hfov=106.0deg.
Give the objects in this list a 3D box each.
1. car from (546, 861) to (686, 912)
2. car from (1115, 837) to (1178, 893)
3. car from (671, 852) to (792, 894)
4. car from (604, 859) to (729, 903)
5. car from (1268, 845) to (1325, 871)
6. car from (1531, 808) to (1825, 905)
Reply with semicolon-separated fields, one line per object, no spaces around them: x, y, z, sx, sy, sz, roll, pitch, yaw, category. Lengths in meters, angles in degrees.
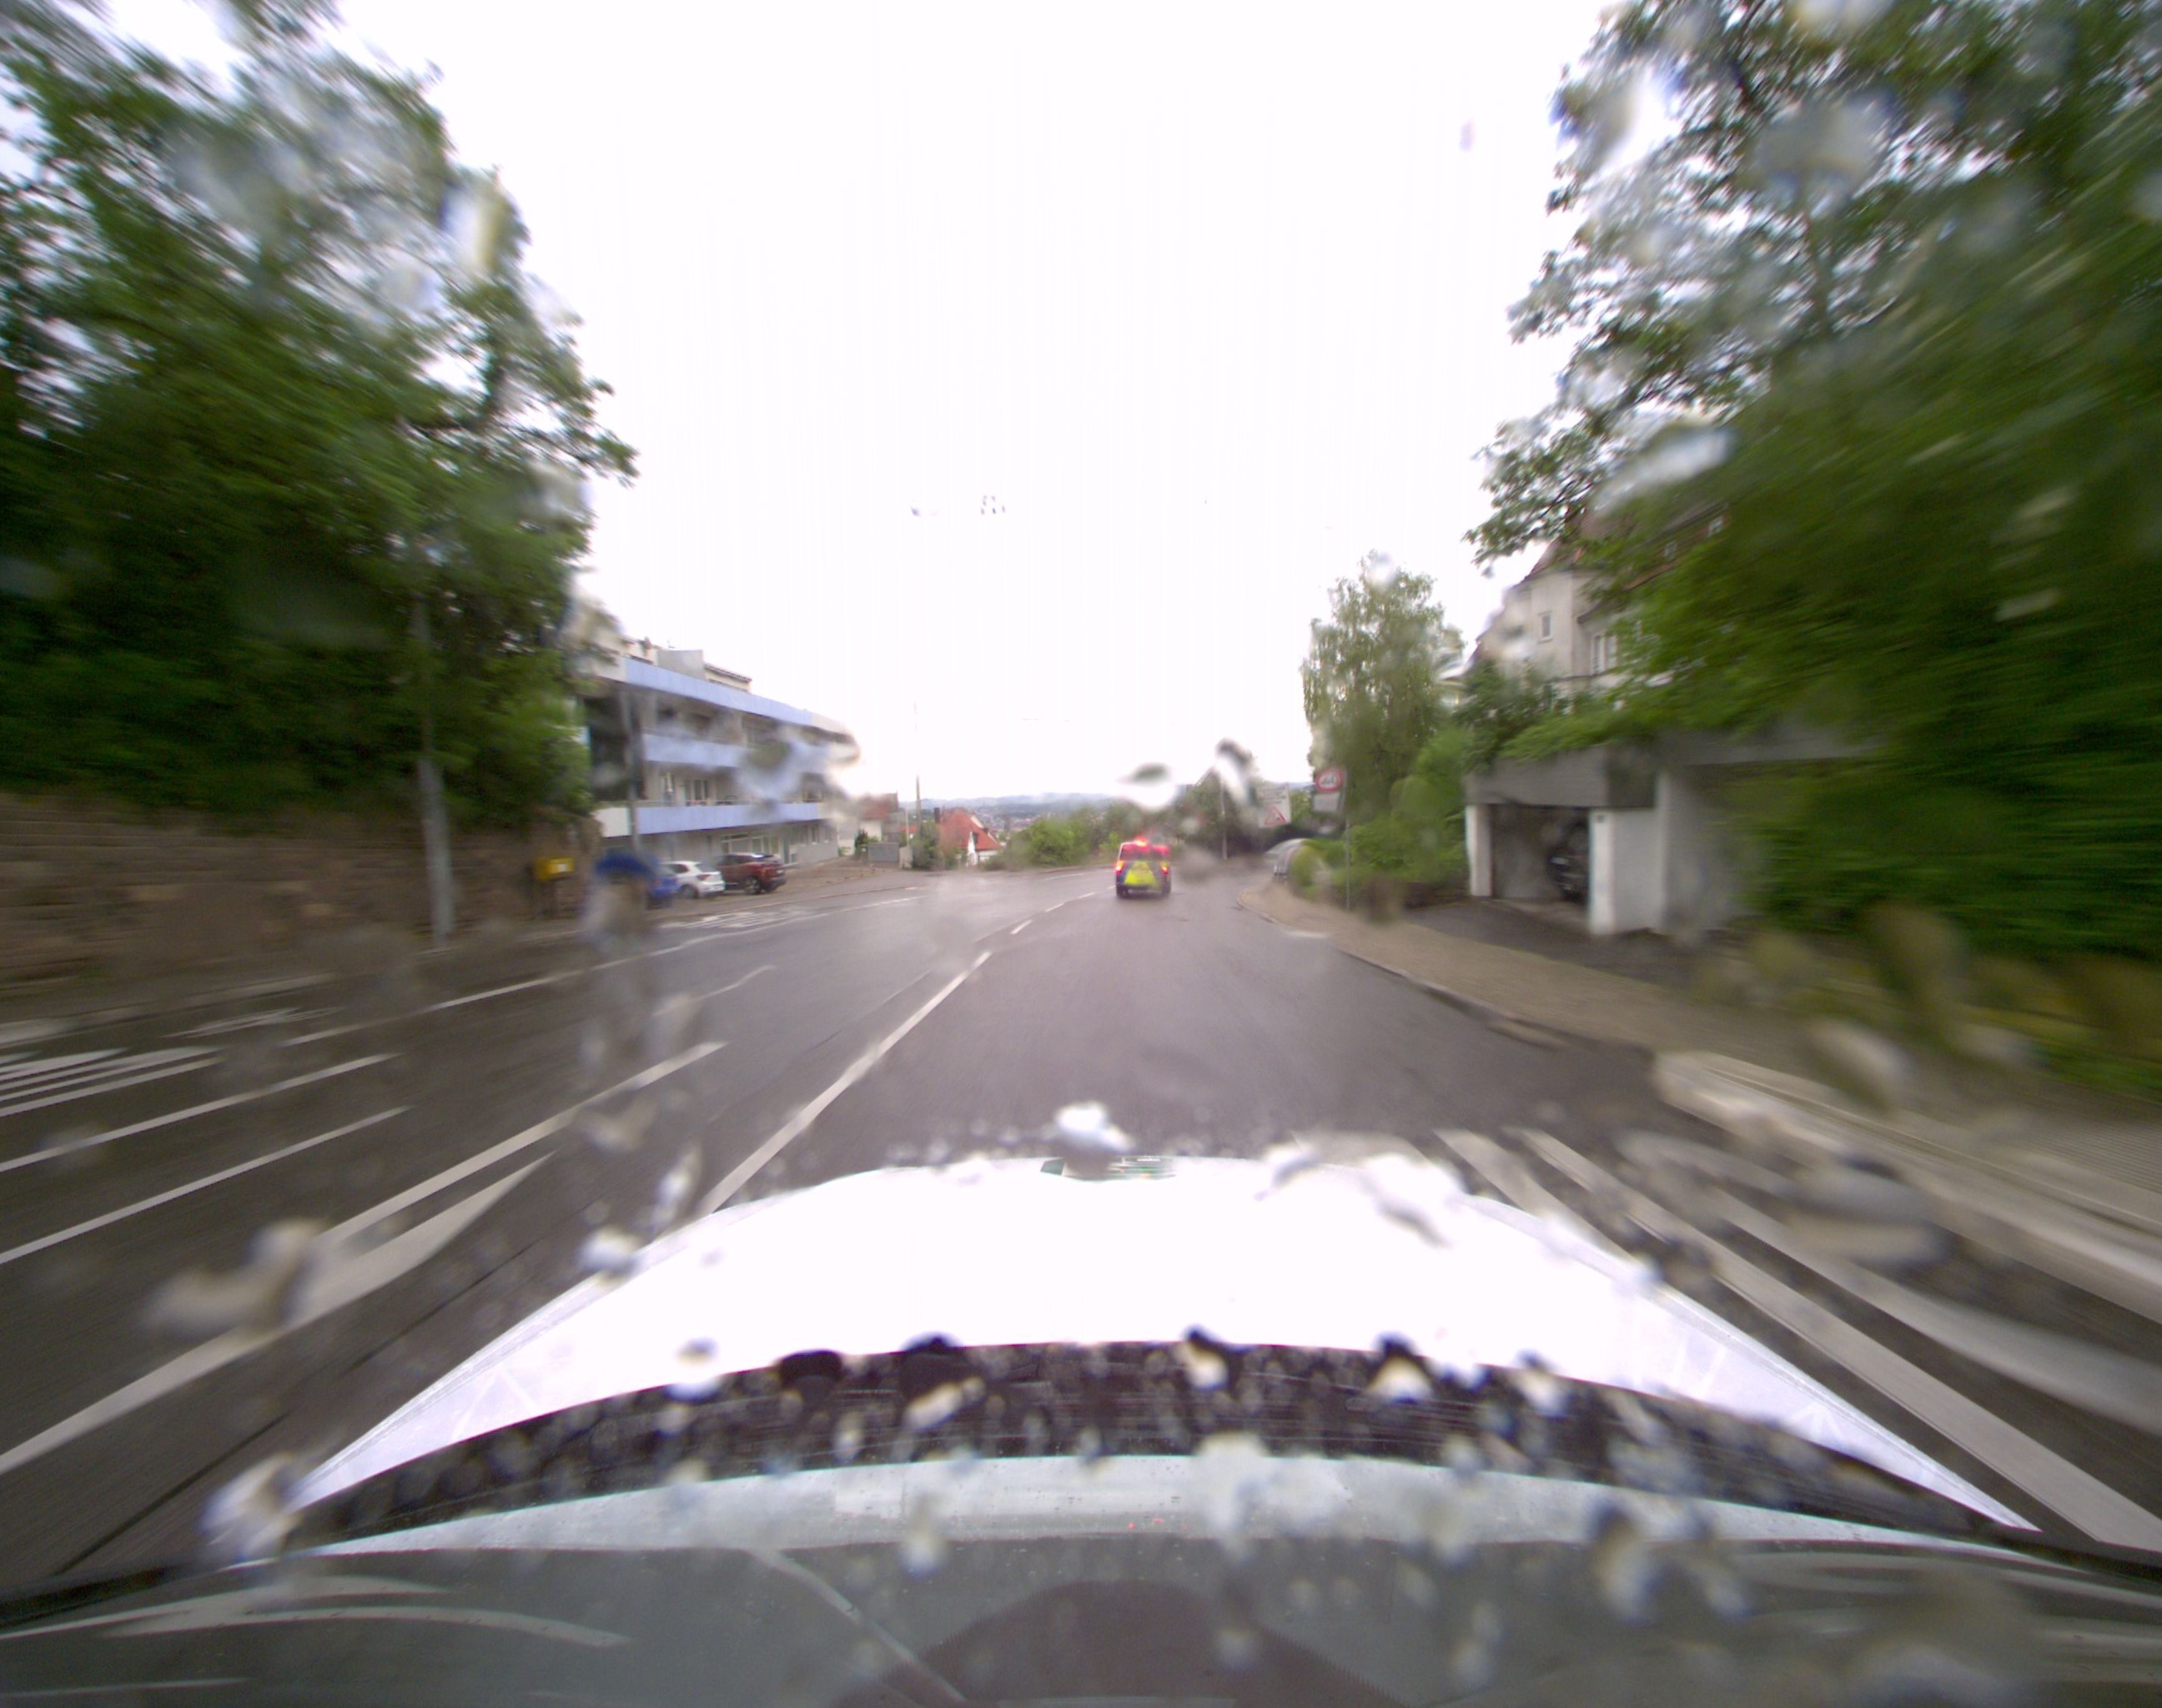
-14.664;1.012;25.811;3.422;1.390;1.636;-2;1;-3;car
2.489;0.348;29.919;1.982;1.893;4.581;0;0;8;car
-13.519;0.728;31.654;3.911;1.550;1.715;0;0;-1;car
-14.333;0.914;28.274;3.417;1.445;1.709;0;0;1;car
12.430;0.205;46.821;1.772;1.446;4.132;0;1;37;car
10.759;-0.004;14.960;3.967;1.628;1.803;0;4;6;car
